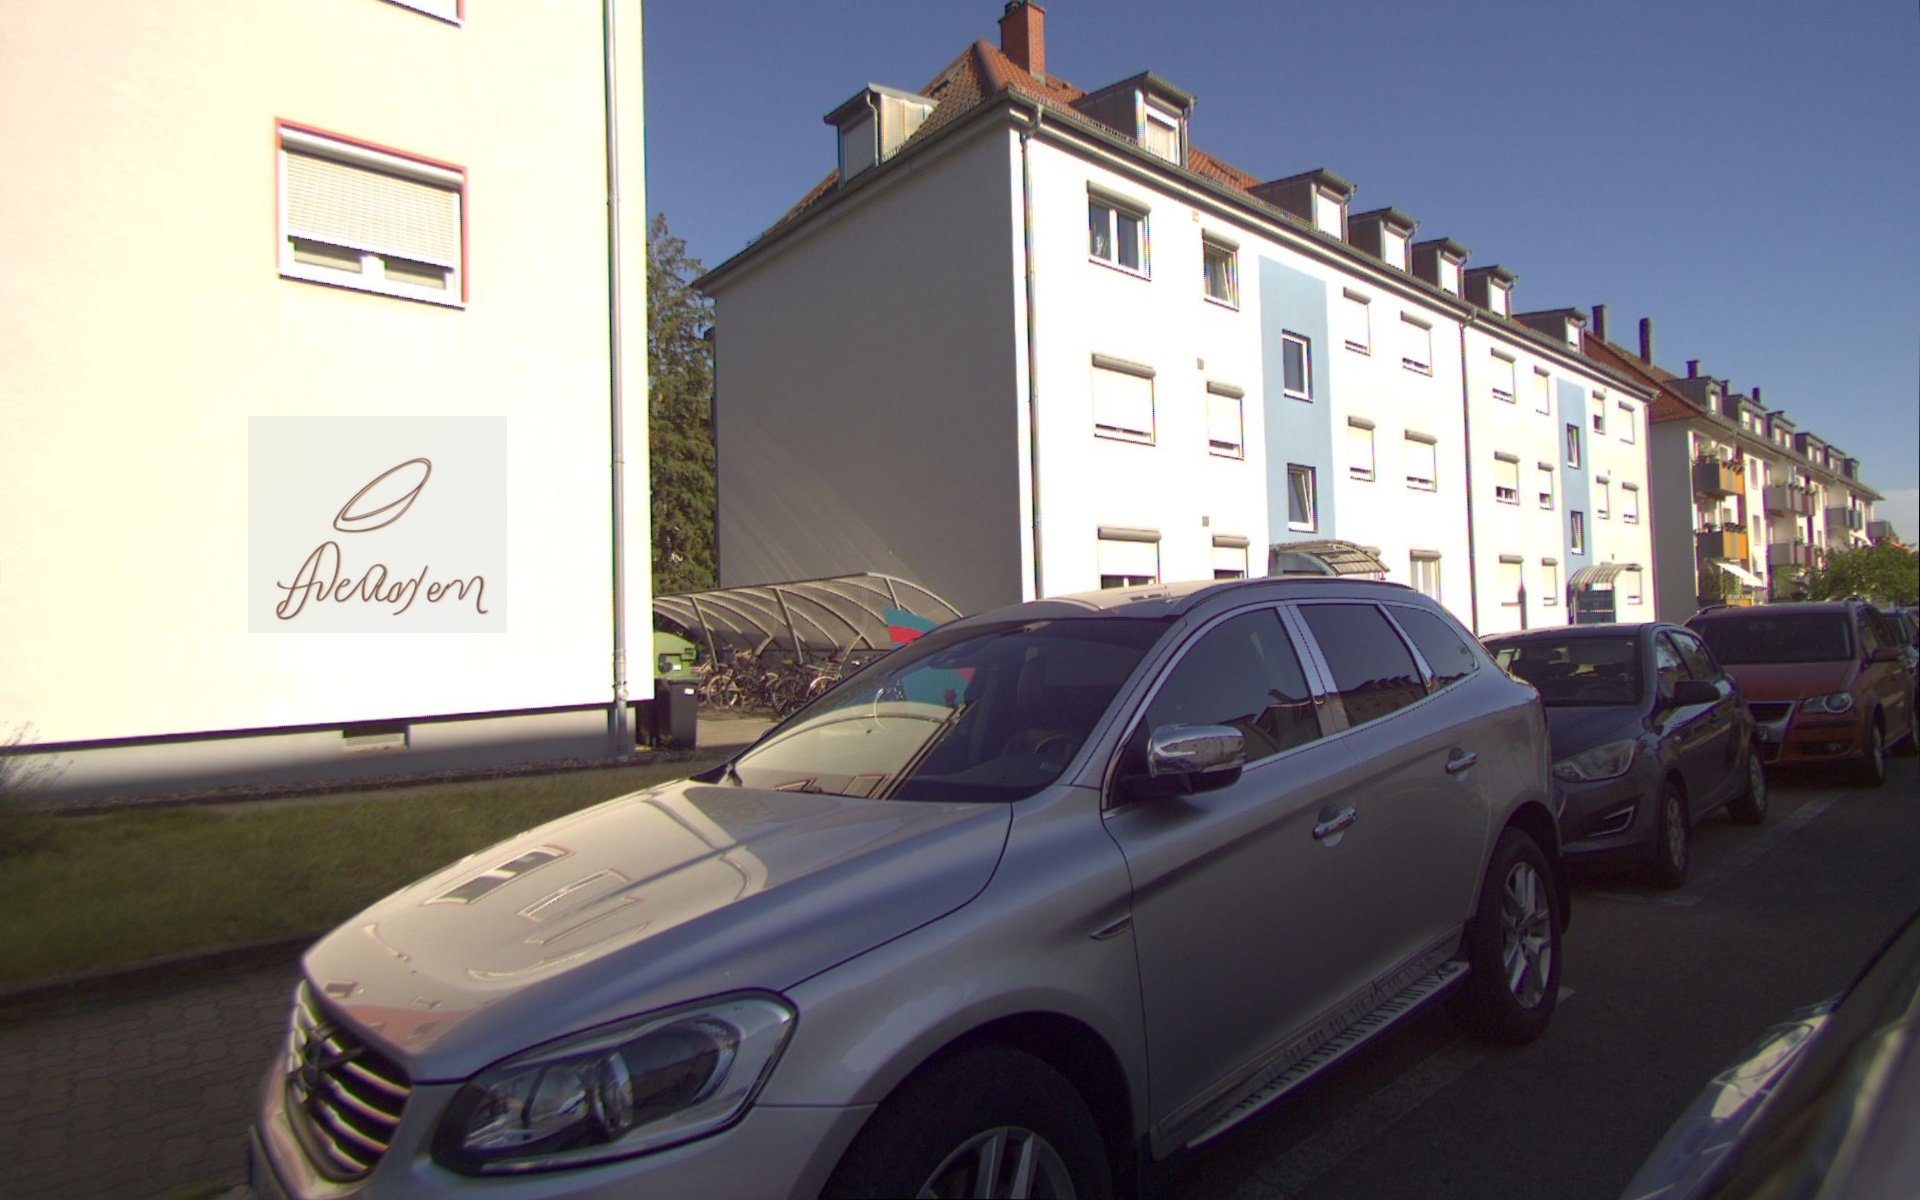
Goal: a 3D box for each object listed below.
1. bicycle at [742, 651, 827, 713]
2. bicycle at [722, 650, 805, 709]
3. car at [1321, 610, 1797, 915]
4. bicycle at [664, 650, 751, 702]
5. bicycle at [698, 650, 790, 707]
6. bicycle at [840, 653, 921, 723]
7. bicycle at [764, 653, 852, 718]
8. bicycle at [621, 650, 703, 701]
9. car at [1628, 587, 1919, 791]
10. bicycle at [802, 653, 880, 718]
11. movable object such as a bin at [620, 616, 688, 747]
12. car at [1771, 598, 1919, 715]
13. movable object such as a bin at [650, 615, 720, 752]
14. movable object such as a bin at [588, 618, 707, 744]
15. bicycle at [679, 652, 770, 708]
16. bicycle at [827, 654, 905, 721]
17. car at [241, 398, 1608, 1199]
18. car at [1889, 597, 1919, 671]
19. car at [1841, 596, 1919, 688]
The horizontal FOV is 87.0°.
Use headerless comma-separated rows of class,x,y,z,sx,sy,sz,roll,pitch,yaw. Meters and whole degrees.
bicycle,-3.025,1.402,17.527,1.481,0.958,0.319,0,-1,-39
bicycle,-3.512,1.416,18.150,1.481,0.958,0.319,0,-1,-39
car,4.196,0.864,6.851,3.791,1.468,1.618,0,-4,-42
bicycle,-5.171,1.546,20.777,1.706,0.958,0.422,0,-1,-33
bicycle,-4.058,1.459,19.095,1.709,0.958,0.421,0,-1,-40
bicycle,-1.201,1.322,15.410,1.260,0.958,0.319,0,-1,-39
bicycle,-2.495,1.398,16.750,1.481,0.958,0.319,0,-1,-39
bicycle,-6.255,1.565,21.302,0.420,0.958,1.715,-1,0,40
car,8.425,0.731,10.171,4.346,1.627,1.730,0,-2,-41
bicycle,-1.894,1.350,16.190,1.260,0.958,0.319,0,-1,-39
movable object such as a bin,-3.814,0.989,12.604,0.613,1.572,0.595,0,-2,-40
car,13.998,0.820,15.478,3.808,1.545,1.706,0,-6,-41
movable object such as a bin,-3.298,0.978,12.146,0.613,1.572,0.595,0,-2,-40
movable object such as a bin,-4.202,1.043,13.578,1.124,1.572,1.297,0,-2,-40
bicycle,-4.533,1.529,19.566,1.709,0.958,0.421,0,-1,-40
bicycle,-1.459,1.348,15.846,1.260,0.958,0.319,0,-1,-39
car,0.390,0.698,3.263,4.235,1.742,1.776,0,-5,-43
car,22.279,0.721,22.666,3.970,1.591,1.707,0,-2,-41
car,17.969,0.732,18.932,3.808,1.591,1.707,0,-2,-41
